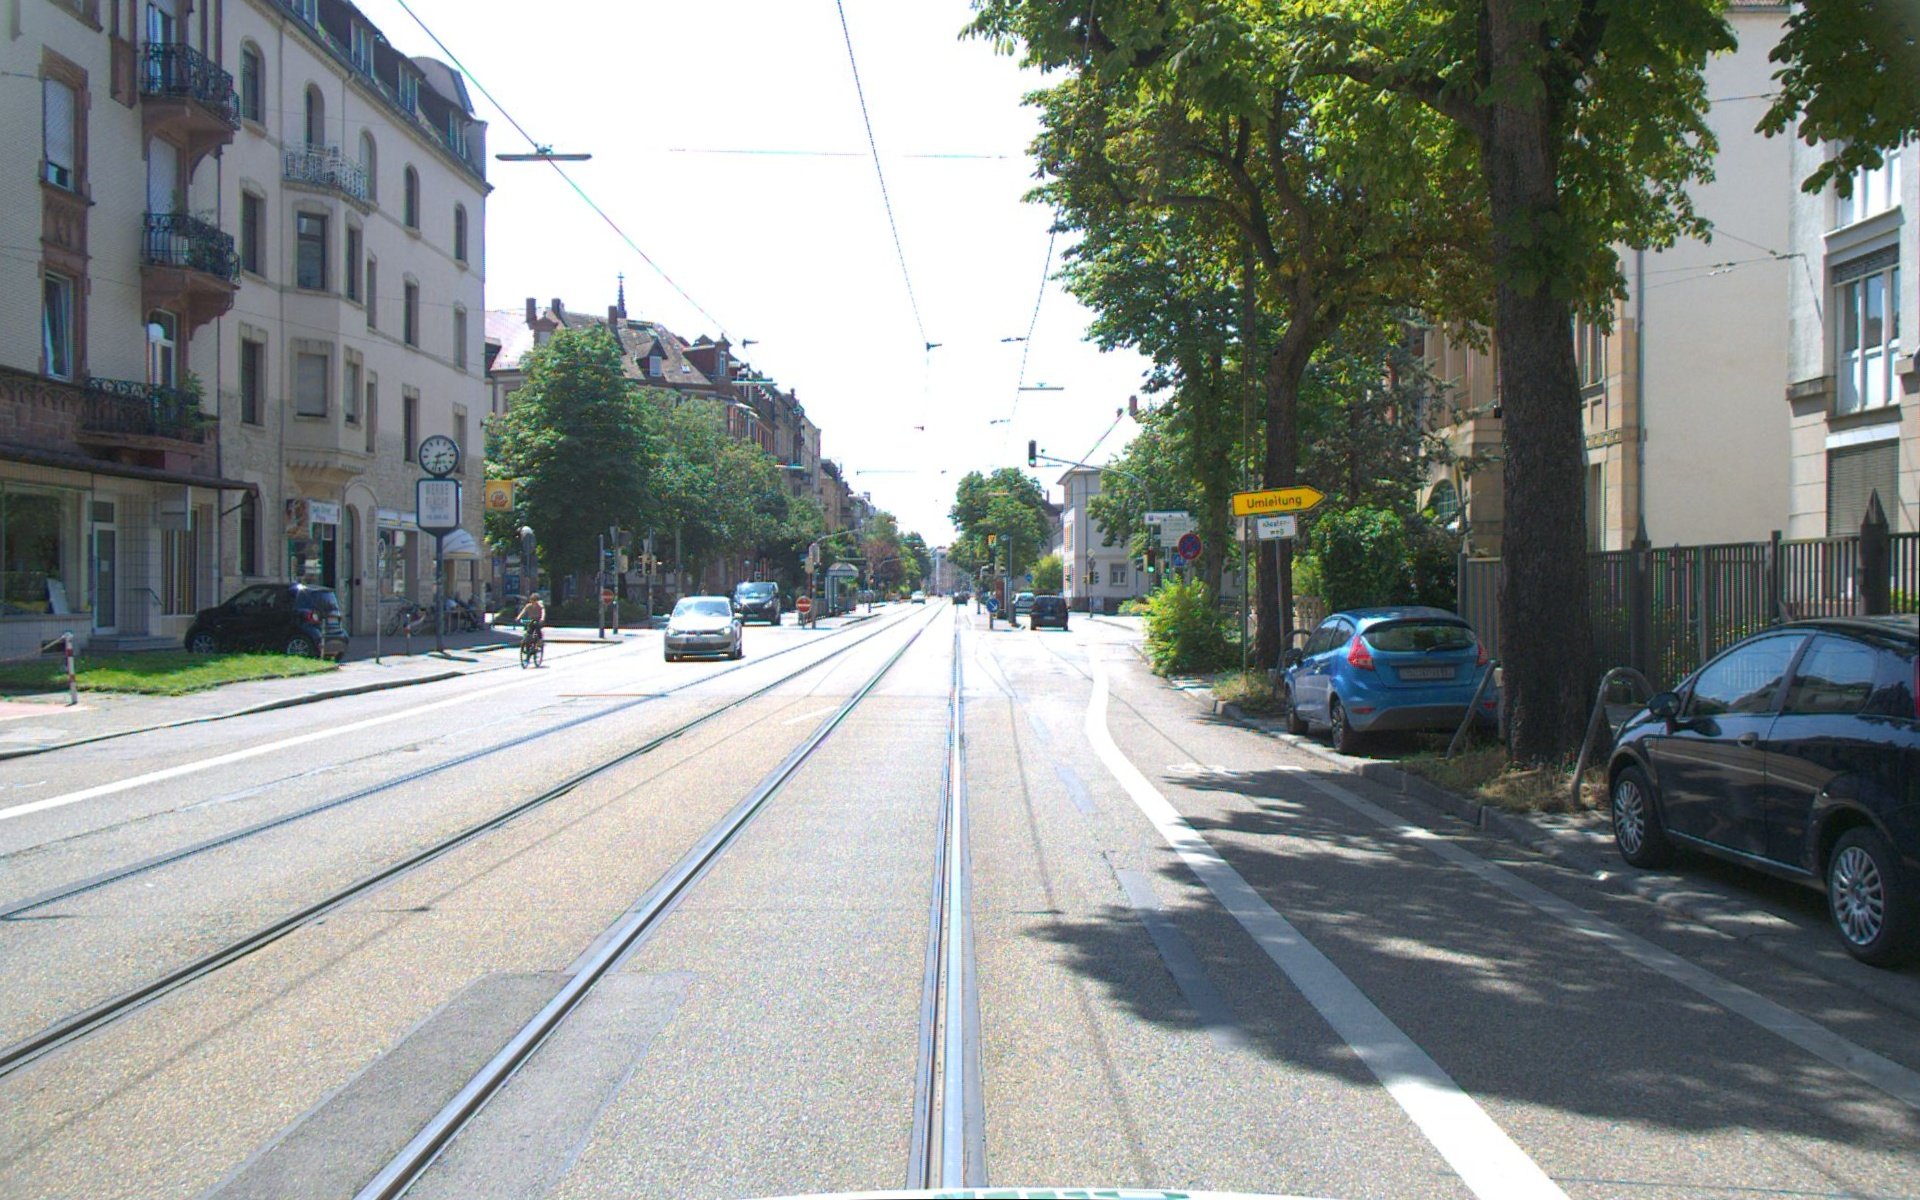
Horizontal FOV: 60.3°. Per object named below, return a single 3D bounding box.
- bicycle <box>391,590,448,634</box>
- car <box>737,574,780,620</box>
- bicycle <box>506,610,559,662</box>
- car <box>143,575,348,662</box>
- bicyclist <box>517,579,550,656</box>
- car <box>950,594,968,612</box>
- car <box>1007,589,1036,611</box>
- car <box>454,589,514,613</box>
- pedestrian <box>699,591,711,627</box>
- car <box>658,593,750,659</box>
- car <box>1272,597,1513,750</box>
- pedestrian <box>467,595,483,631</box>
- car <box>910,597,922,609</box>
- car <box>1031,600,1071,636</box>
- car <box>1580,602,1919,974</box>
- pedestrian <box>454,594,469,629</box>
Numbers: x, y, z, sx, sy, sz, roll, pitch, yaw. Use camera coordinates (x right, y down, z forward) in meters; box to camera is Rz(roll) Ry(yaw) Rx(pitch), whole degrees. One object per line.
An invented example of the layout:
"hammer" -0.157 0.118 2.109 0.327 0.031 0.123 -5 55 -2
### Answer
"bicycle" -15.916 0.353 48.743 0.444 1.246 2.080 1 0 19
"car" -9.205 -0.115 75.761 1.808 1.971 4.817 -1 0 -6
"bicycle" -9.492 0.780 36.798 0.631 1.093 2.186 0 0 -1
"car" -13.984 0.357 32.456 3.284 1.497 1.530 3 0 3
"bicyclist" -9.505 0.389 36.888 0.597 1.692 0.579 0 0 -1
"car" -0.166 0.333 187.742 2.005 2.049 4.606 1 0 0
"car" 4.157 -0.002 112.201 1.495 1.481 3.360 -1 0 -6
"car" -31.114 0.065 108.073 3.654 1.467 1.541 1 0 24
"pedestrian" -13.611 0.465 88.244 0.500 1.912 0.494 1 -1 4
"car" -5.960 0.587 38.902 1.674 1.437 3.823 -1 0 -2
"car" 4.694 0.743 18.512 1.649 1.487 4.000 -1 0 0
"pedestrian" -15.971 0.417 54.439 0.397 1.168 0.405 1 -1 -4
"car" -5.567 0.378 208.300 1.510 1.362 3.717 1 0 -2
"car" 3.880 0.758 71.131 1.493 1.470 3.364 -1 0 0
"car" 4.811 0.787 8.632 1.643 1.523 3.918 -1 0 0
"pedestrian" -16.051 0.366 53.283 0.347 1.108 0.405 1 -1 -4
